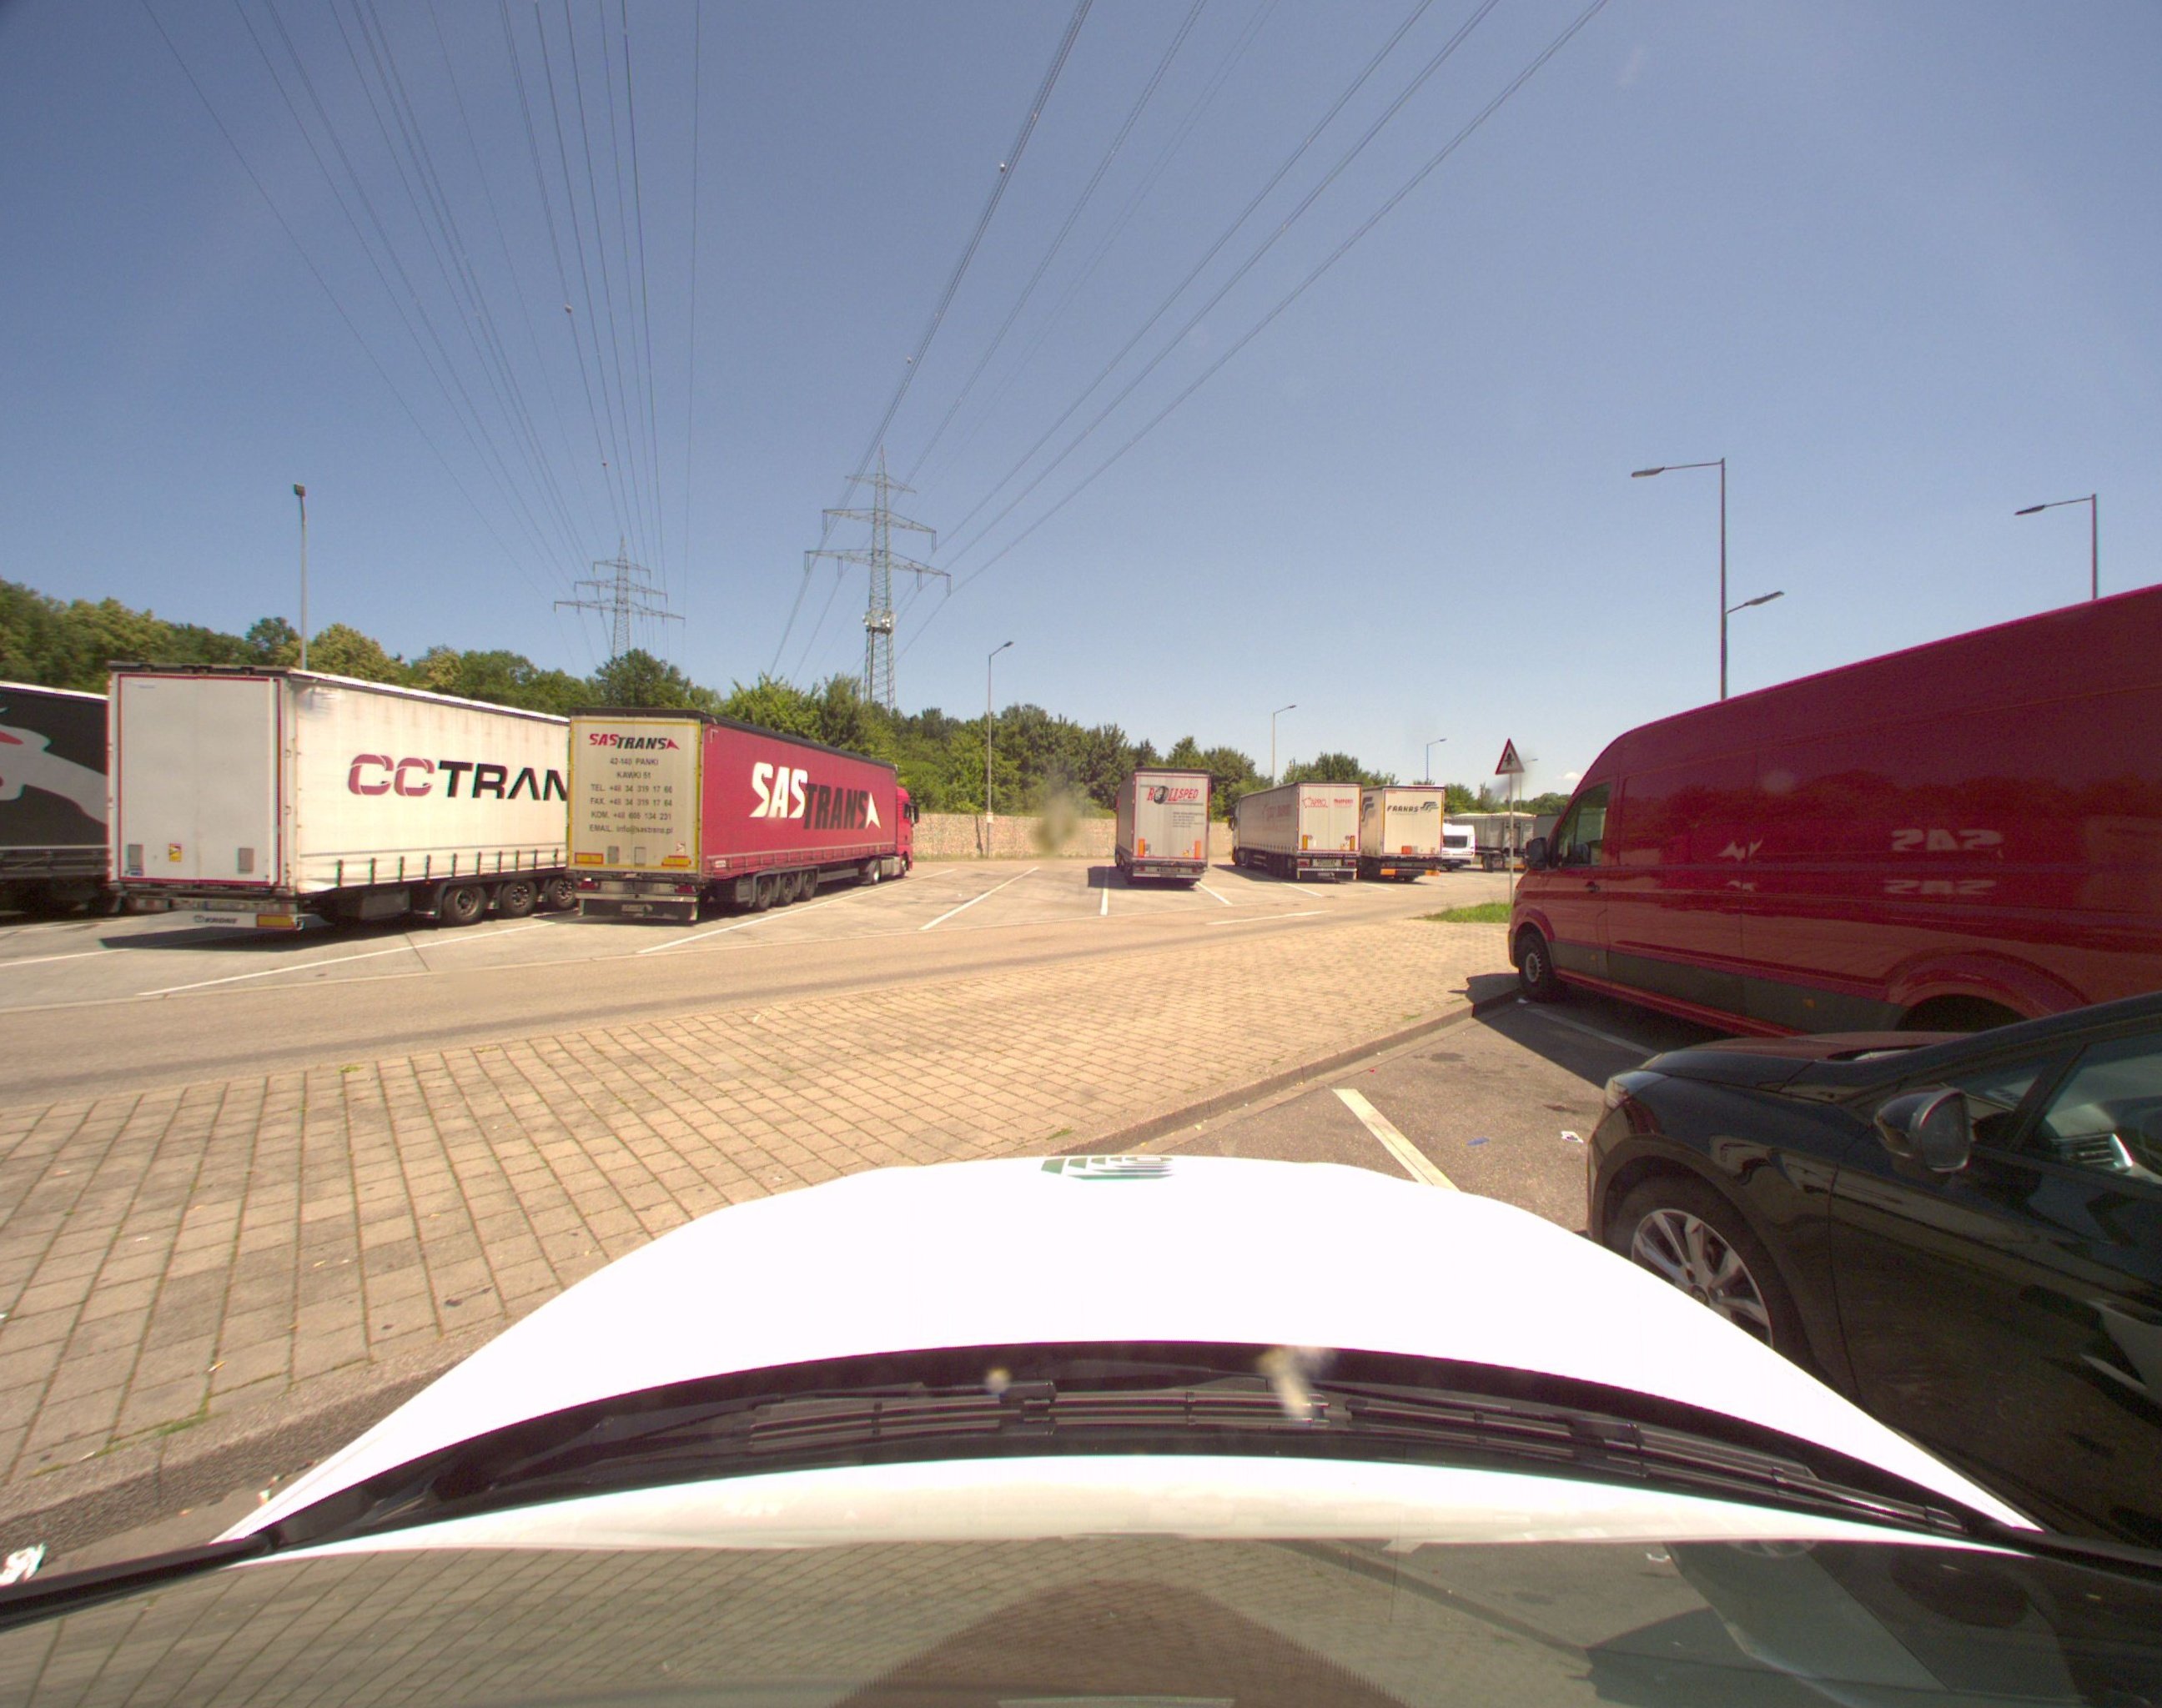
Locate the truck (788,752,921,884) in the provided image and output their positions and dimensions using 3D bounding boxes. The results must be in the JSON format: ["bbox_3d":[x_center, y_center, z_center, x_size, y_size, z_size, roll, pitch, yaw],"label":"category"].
[{"bbox_3d":[-7.753,-1.184,28.723,2.795,4.133,5.896,-1,1,2],"label":"truck"}]

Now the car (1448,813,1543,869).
[{"bbox_3d":[24.134,-0.761,47.766,2.490,3.074,6.353,-1,1,2],"label":"car"}]

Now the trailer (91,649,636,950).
[{"bbox_3d":[-12.187,-0.816,15.413,2.744,4.152,8.291,0,1,2],"label":"trailer"}]

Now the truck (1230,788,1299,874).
[{"bbox_3d":[10.074,-1.243,45.175,2.651,4.452,5.866,-1,1,2],"label":"truck"}]

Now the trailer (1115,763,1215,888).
[{"bbox_3d":[2.969,-1.009,32.062,2.887,4.013,11.319,-1,1,1],"label":"trailer"}]

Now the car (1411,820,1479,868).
[{"bbox_3d":[20.535,-0.528,46.143,2.107,2.599,4.001,0,-1,2],"label":"car"}]

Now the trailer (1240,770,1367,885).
[{"bbox_3d":[9.900,-1.122,38.099,2.672,4.452,12.833,-1,1,1],"label":"trailer"}]

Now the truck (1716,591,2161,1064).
[{"bbox_3d":[7.795,-0.153,6.084,2.508,2.827,4.821,0,-1,3],"label":"truck"}]

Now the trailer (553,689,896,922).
[{"bbox_3d":[-8.002,-0.980,21.467,2.789,4.219,13.208,-1,1,2],"label":"trailer"}]

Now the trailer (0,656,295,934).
[{"bbox_3d":[-18.558,-0.954,14.651,2.668,4.445,6.151,-1,0,2],"label":"trailer"}]

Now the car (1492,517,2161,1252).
[{"bbox_3d":[5.119,0.064,5.519,1.984,2.633,6.393,-1,1,5],"label":"car"}]

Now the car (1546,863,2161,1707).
[{"bbox_3d":[2.549,0.749,0.911,1.773,1.457,3.680,0,-1,-4],"label":"car"}]

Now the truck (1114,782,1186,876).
[{"bbox_3d":[3.071,-1.100,37.866,2.862,3.980,6.030,-1,1,0],"label":"truck"}]

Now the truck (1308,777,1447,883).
[{"bbox_3d":[13.532,-0.919,38.626,2.577,4.226,11.974,0,0,2],"label":"truck"}]
